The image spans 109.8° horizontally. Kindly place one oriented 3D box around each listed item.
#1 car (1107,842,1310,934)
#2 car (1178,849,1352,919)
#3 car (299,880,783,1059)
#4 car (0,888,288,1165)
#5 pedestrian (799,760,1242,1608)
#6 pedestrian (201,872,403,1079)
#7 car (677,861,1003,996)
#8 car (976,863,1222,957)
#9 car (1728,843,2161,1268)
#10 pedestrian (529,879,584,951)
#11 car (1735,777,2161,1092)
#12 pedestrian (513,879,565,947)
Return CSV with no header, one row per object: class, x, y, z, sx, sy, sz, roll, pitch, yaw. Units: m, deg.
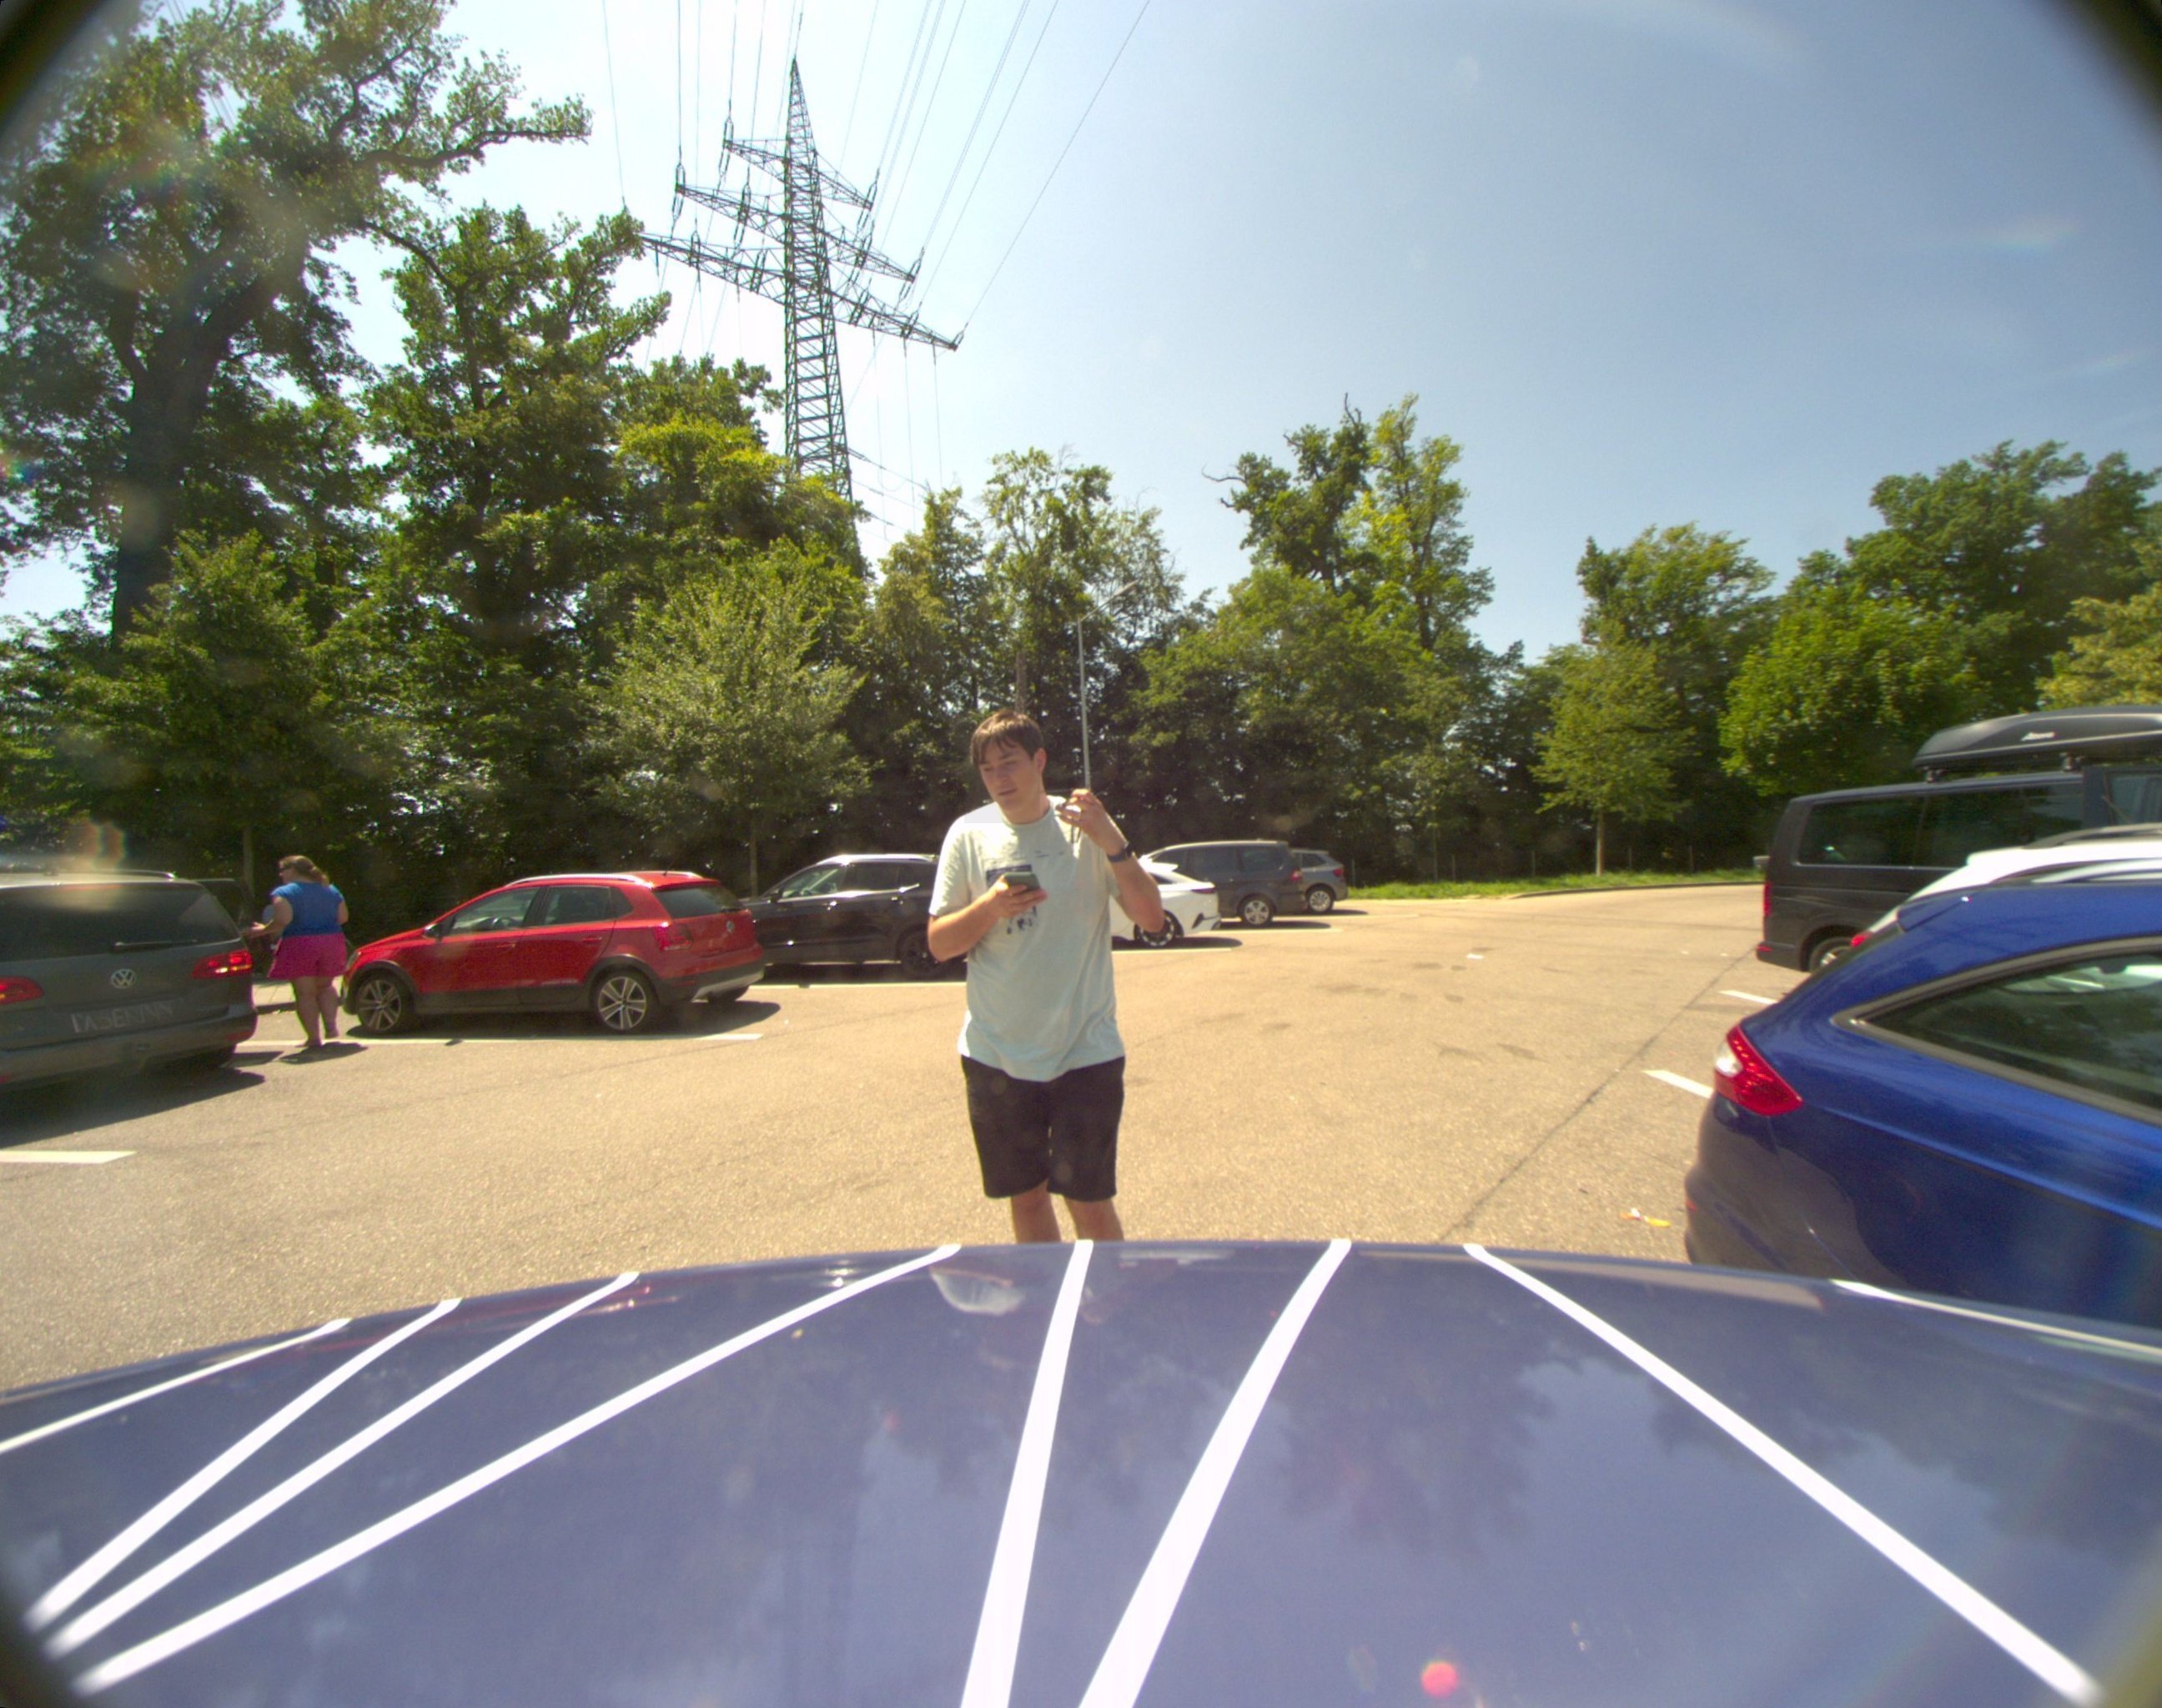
car,2.578,0.668,15.442,3.818,1.714,1.722,-1,1,12
car,4.331,0.691,18.144,3.818,1.530,1.722,-1,1,12
car,-5.248,1.067,7.640,3.785,1.457,1.722,-1,1,9
car,-8.300,1.108,5.430,3.985,1.572,1.749,-1,1,12
pedestrian,-0.122,0.728,1.960,0.890,1.831,0.622,-2,1,1
pedestrian,-6.865,1.025,6.752,0.733,1.672,0.920,-2,1,6
car,-3.075,0.938,10.250,3.787,1.564,1.721,-1,1,2
car,0.355,0.901,12.716,3.819,1.377,1.722,-1,1,6
car,4.864,0.725,2.273,1.741,1.524,4.642,-3,-1,-2
pedestrian,-10.010,1.140,14.492,0.782,1.287,0.670,-1,2,45
car,7.312,0.437,4.902,1.961,1.858,4.642,-3,-1,-3
pedestrian,-10.918,1.166,15.305,0.782,1.287,0.670,-1,2,45
